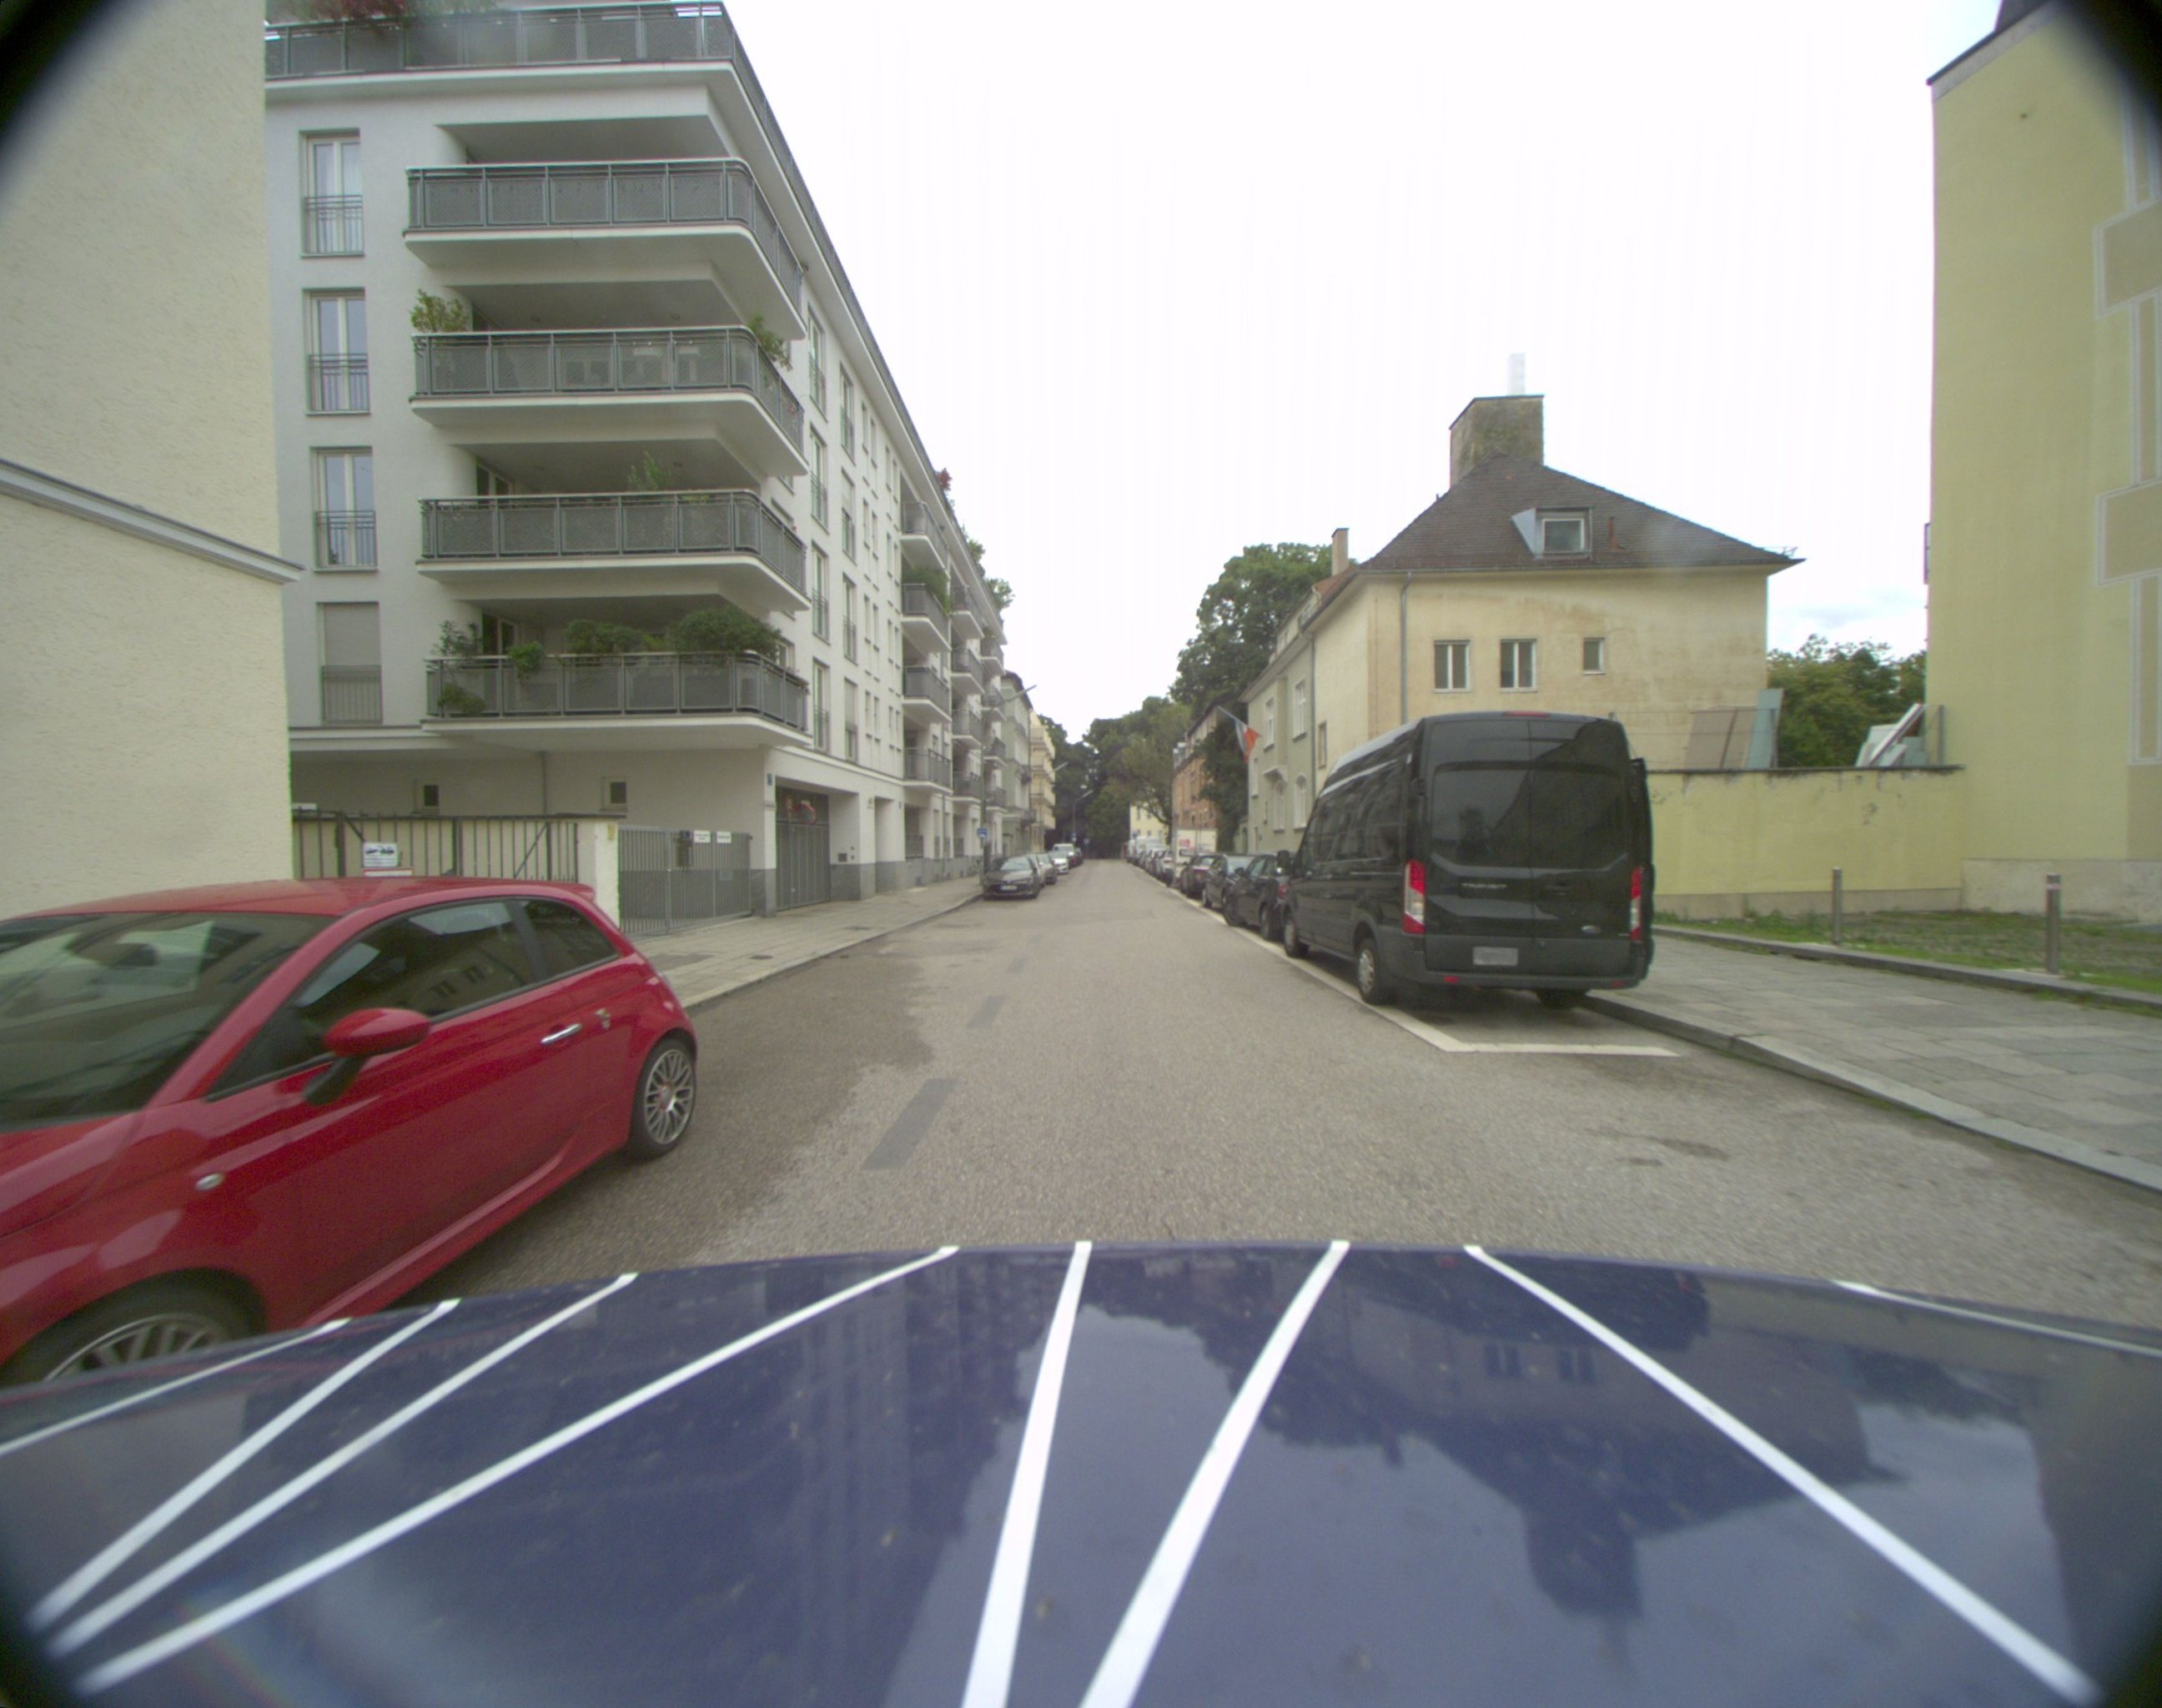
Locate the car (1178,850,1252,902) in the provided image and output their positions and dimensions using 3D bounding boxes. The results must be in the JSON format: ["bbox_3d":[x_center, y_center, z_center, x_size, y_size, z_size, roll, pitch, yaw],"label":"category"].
[{"bbox_3d":[4.272,0.633,24.889,1.817,1.491,4.643,0,1,3],"label":"car"}]

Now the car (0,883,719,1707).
[{"bbox_3d":[-2.979,0.959,2.519,1.683,1.489,3.823,-1,1,0],"label":"car"}]

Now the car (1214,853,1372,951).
[{"bbox_3d":[3.699,0.758,13.892,1.706,1.485,3.488,-1,1,-4],"label":"car"}]

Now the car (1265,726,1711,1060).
[{"bbox_3d":[3.884,0.275,8.831,2.302,2.630,5.653,0,1,2],"label":"car"}]

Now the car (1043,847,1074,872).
[{"bbox_3d":[-1.366,0.341,47.616,1.766,1.449,3.747,-1,1,0],"label":"car"}]

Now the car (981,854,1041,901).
[{"bbox_3d":[-2.342,0.748,26.295,1.784,1.386,4.245,-1,1,-2],"label":"car"}]

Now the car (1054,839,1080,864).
[{"bbox_3d":[-1.092,-0.230,62.695,1.871,2.002,4.268,-1,1,2],"label":"car"}]

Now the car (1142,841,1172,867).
[{"bbox_3d":[5.250,-0.018,52.990,1.817,1.724,3.649,-1,1,2],"label":"car"}]

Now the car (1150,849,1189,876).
[{"bbox_3d":[4.737,0.440,41.121,1.817,1.339,3.746,-1,1,3],"label":"car"}]

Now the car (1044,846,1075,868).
[{"bbox_3d":[-1.500,0.203,54.037,1.765,1.449,3.748,-1,1,4],"label":"car"}]

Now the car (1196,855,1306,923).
[{"bbox_3d":[4.026,0.760,18.599,1.697,1.417,4.069,0,1,-1],"label":"car"}]

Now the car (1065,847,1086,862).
[{"bbox_3d":[-0.541,0.010,78.478,1.871,1.455,4.268,-1,1,2],"label":"car"}]

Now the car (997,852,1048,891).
[{"bbox_3d":[-2.366,0.665,31.454,1.766,1.449,3.417,-1,1,0],"label":"car"}]

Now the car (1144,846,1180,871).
[{"bbox_3d":[5.017,0.228,47.381,1.818,1.444,3.927,-1,1,0],"label":"car"}]

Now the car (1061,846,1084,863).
[{"bbox_3d":[-0.753,-0.005,68.326,1.871,1.455,4.268,-1,1,2],"label":"car"}]

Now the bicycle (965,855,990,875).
[{"bbox_3d":[-5.439,0.569,40.111,0.580,1.008,1.955,-2,1,14],"label":"bicycle"}]

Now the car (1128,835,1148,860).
[{"bbox_3d":[5.971,-0.679,79.714,1.880,2.539,4.370,-1,1,3],"label":"car"}]

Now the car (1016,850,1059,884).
[{"bbox_3d":[-1.999,0.575,35.805,1.766,1.449,3.747,-1,1,0],"label":"car"}]

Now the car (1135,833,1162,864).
[{"bbox_3d":[5.574,-0.498,63.250,2.104,2.418,4.549,-1,1,3],"label":"car"}]

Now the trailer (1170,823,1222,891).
[{"bbox_3d":[4.551,0.089,30.502,1.817,2.521,3.389,3,2,6],"label":"trailer"}]

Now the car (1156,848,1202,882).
[{"bbox_3d":[4.581,0.473,35.870,1.767,1.505,3.842,0,1,1],"label":"car"}]
